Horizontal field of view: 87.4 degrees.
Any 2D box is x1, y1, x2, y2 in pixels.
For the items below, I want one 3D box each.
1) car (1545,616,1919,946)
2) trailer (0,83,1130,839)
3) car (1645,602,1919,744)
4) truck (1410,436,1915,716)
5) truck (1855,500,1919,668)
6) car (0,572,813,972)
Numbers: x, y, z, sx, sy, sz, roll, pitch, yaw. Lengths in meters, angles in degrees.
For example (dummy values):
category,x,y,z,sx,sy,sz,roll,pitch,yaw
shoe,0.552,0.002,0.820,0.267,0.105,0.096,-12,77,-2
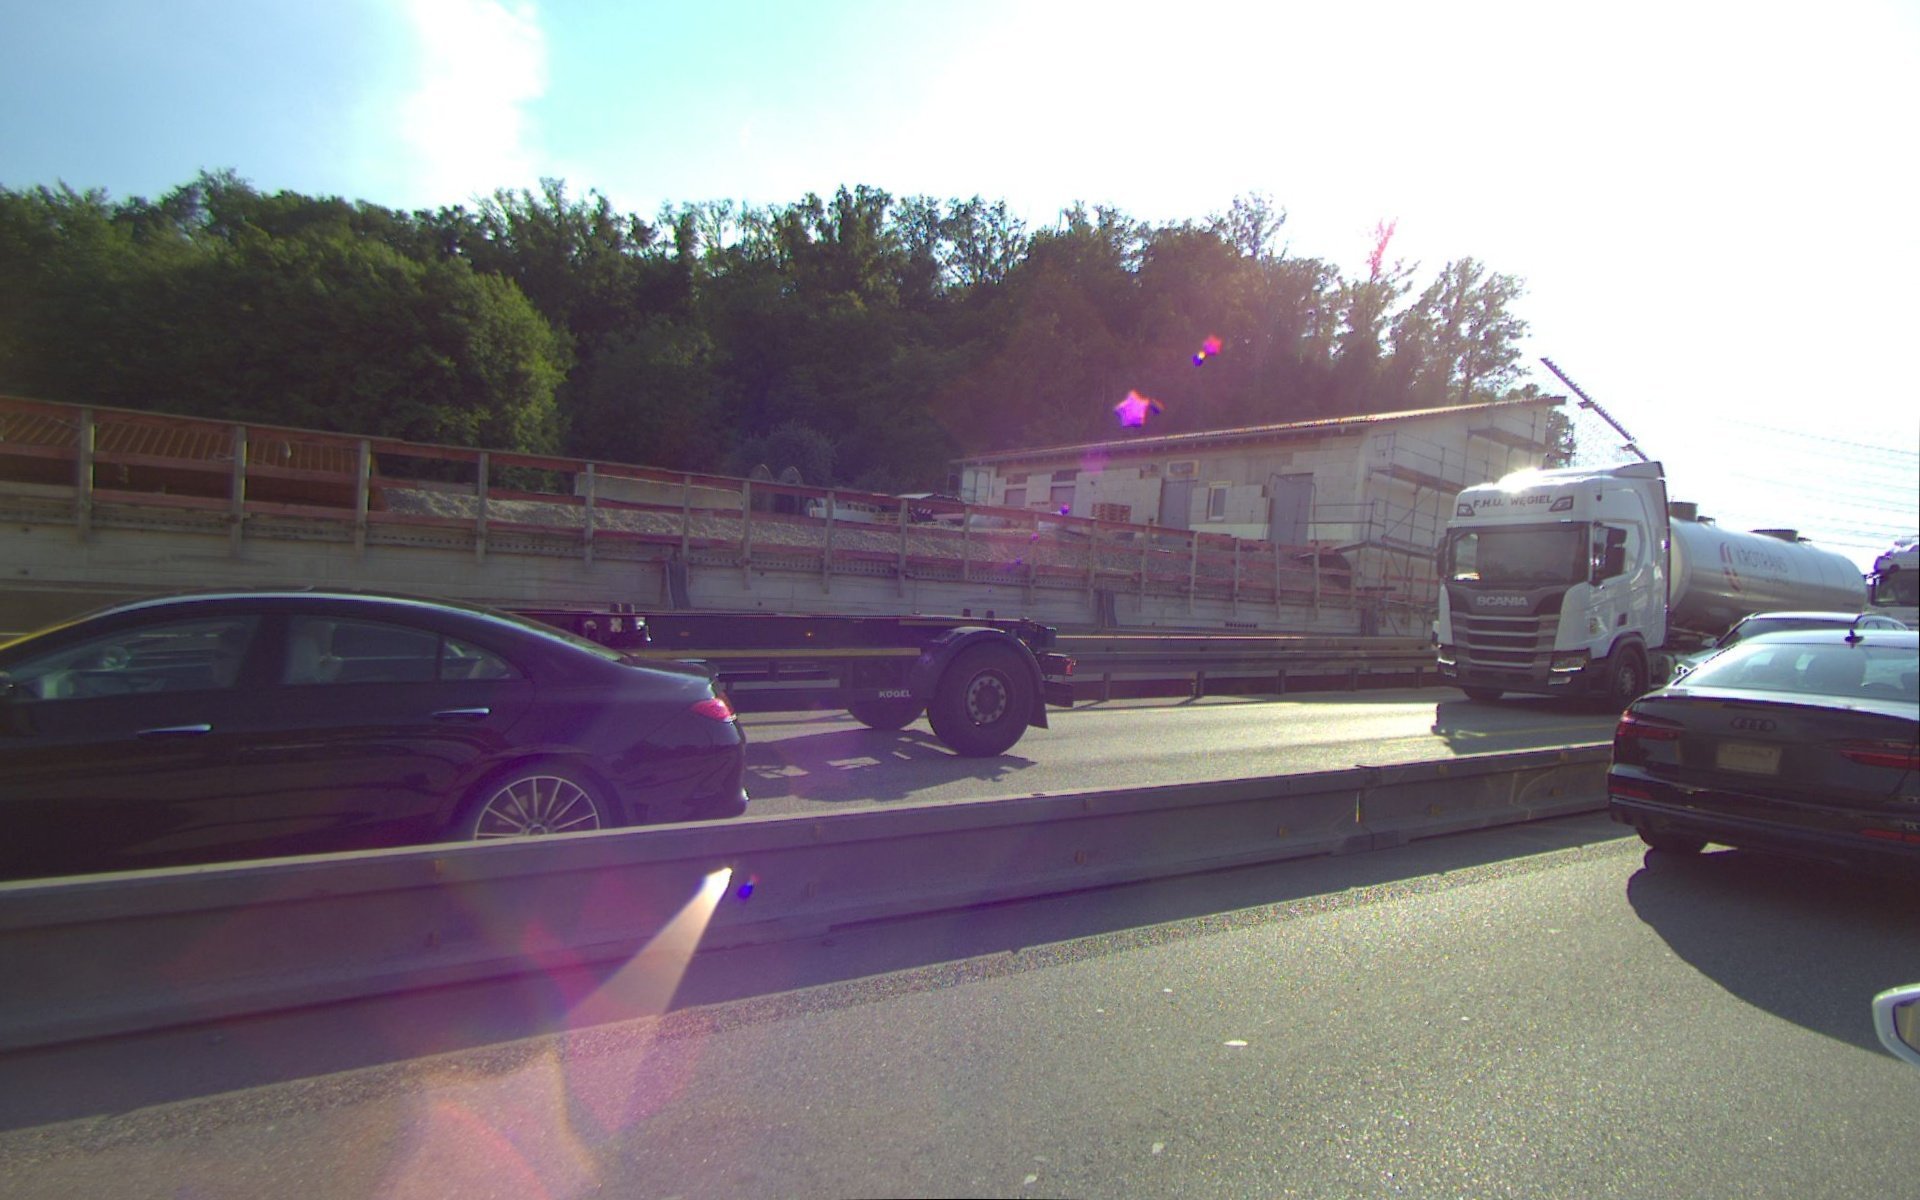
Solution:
category,x,y,z,sx,sy,sz,roll,pitch,yaw
car,6.261,0.933,6.523,5.159,1.500,1.932,2,-2,-29
trailer,-5.891,-0.771,6.944,15.810,4.259,2.688,3,-1,-30
car,11.565,0.957,13.804,4.507,1.669,1.837,2,-2,-31
truck,14.134,-0.230,19.325,13.740,4.023,2.793,1,0,-32
truck,27.610,-0.270,27.929,6.255,4.327,2.430,4,-2,-33
car,-3.285,0.643,4.654,4.846,1.420,1.731,3,-1,-30
